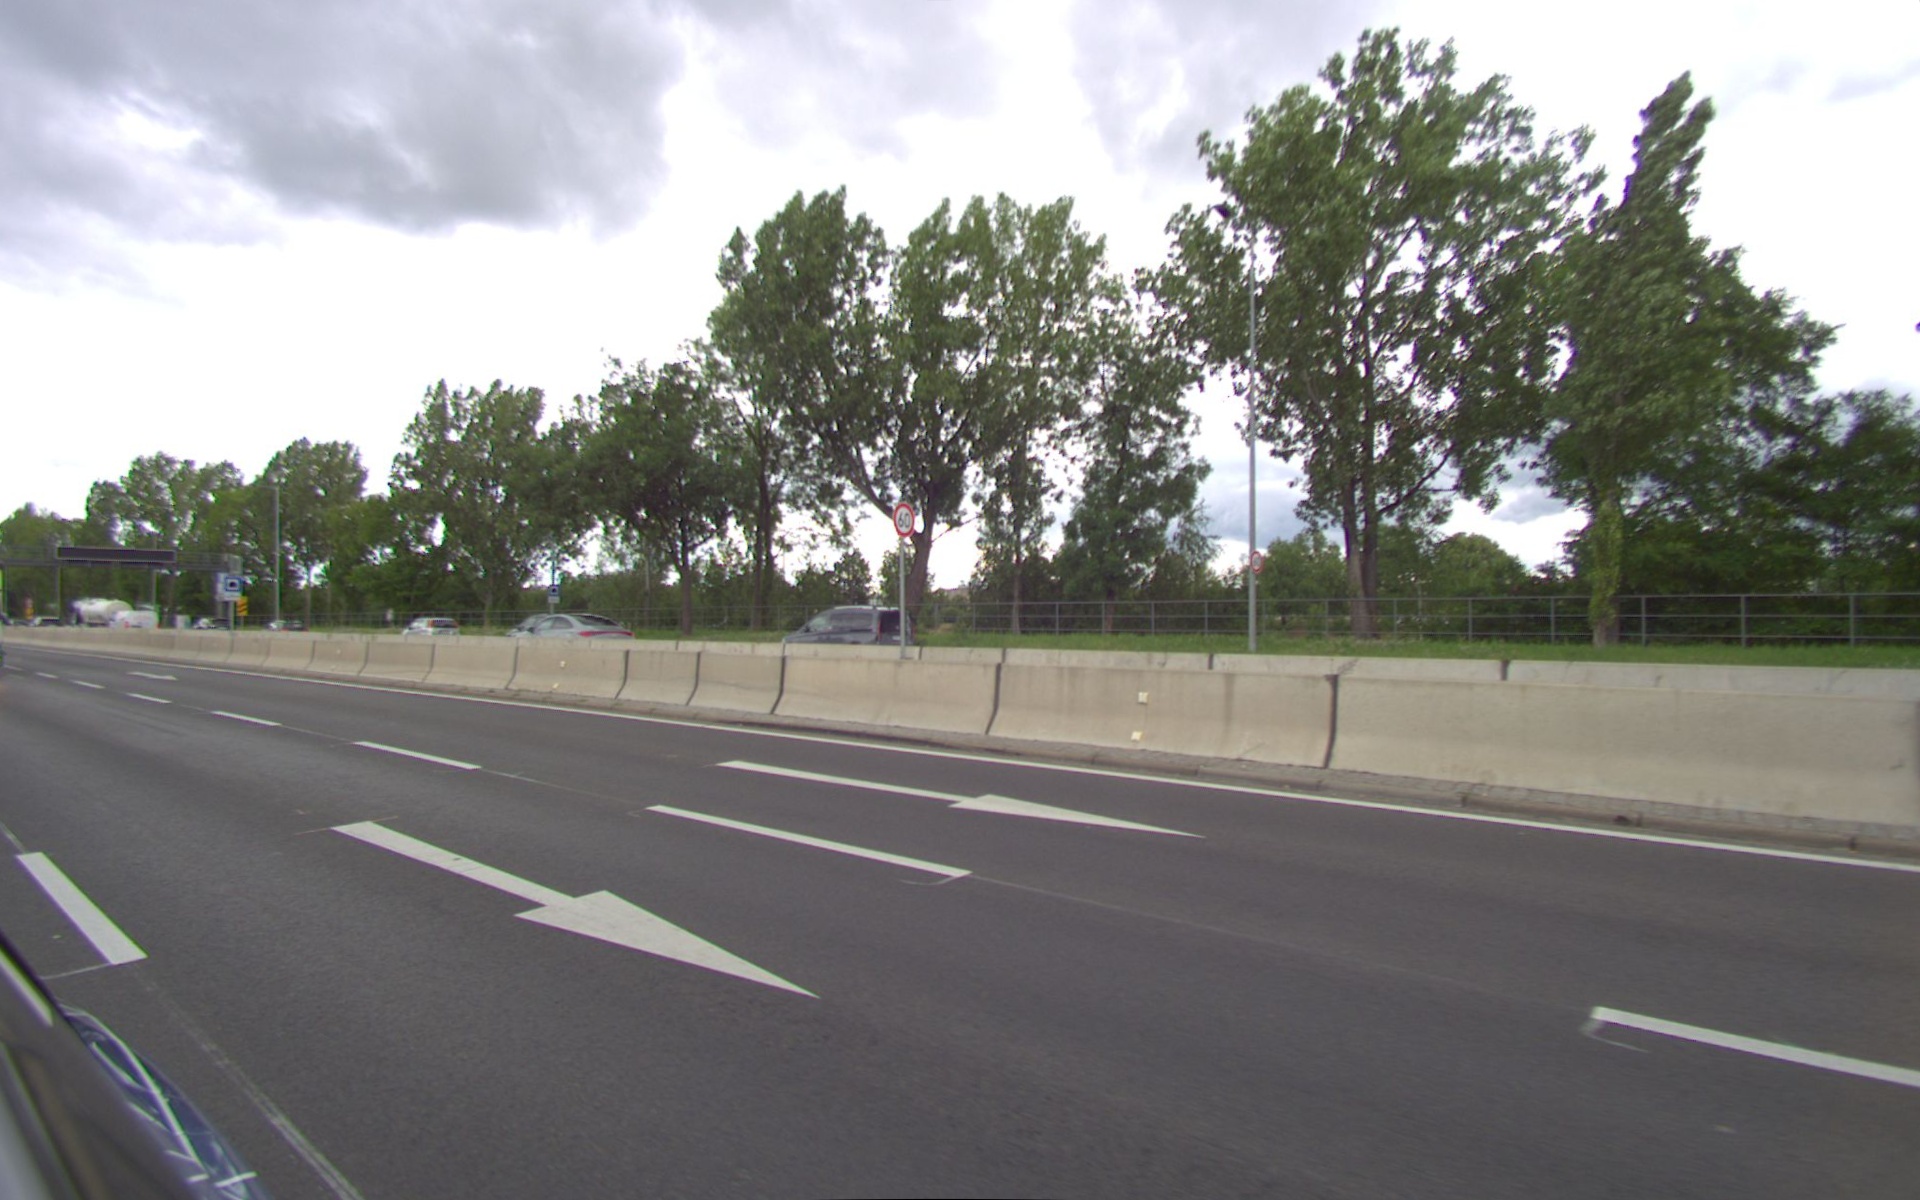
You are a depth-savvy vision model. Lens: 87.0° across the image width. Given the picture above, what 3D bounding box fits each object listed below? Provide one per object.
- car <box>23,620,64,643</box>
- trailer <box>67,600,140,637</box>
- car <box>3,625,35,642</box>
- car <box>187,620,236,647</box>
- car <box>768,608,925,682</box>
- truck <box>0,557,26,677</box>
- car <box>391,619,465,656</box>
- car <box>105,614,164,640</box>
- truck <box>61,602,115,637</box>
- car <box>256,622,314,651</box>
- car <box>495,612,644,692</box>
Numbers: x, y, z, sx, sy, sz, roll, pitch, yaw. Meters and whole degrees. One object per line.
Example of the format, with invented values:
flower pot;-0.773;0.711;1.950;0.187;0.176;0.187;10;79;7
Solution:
car;-74.283;2.557;82.024;3.998;1.752;1.973;-2;0;41
trailer;-81.642;1.821;96.378;11.654;3.244;3.070;-2;0;39
car;-100.665;3.580;108.254;4.695;1.630;1.973;-2;0;41
car;-53.903;2.405;72.872;4.302;1.752;1.973;-2;0;41
car;-3.580;1.351;31.254;4.934;2.029;1.973;-2;0;41
truck;-28.696;0.554;28.176;8.380;3.106;2.906;-2;0;40
car;-26.436;1.849;50.266;4.120;1.695;1.858;-2;0;41
car;-53.312;1.763;65.308;4.880;1.571;1.974;-2;0;39
truck;-86.410;1.958;100.259;5.385;3.243;3.068;-2;0;39
car;-43.136;2.326;64.645;4.467;1.752;1.973;-2;0;41
car;-11.172;1.435;28.809;4.679;2.029;1.973;-2;0;41
